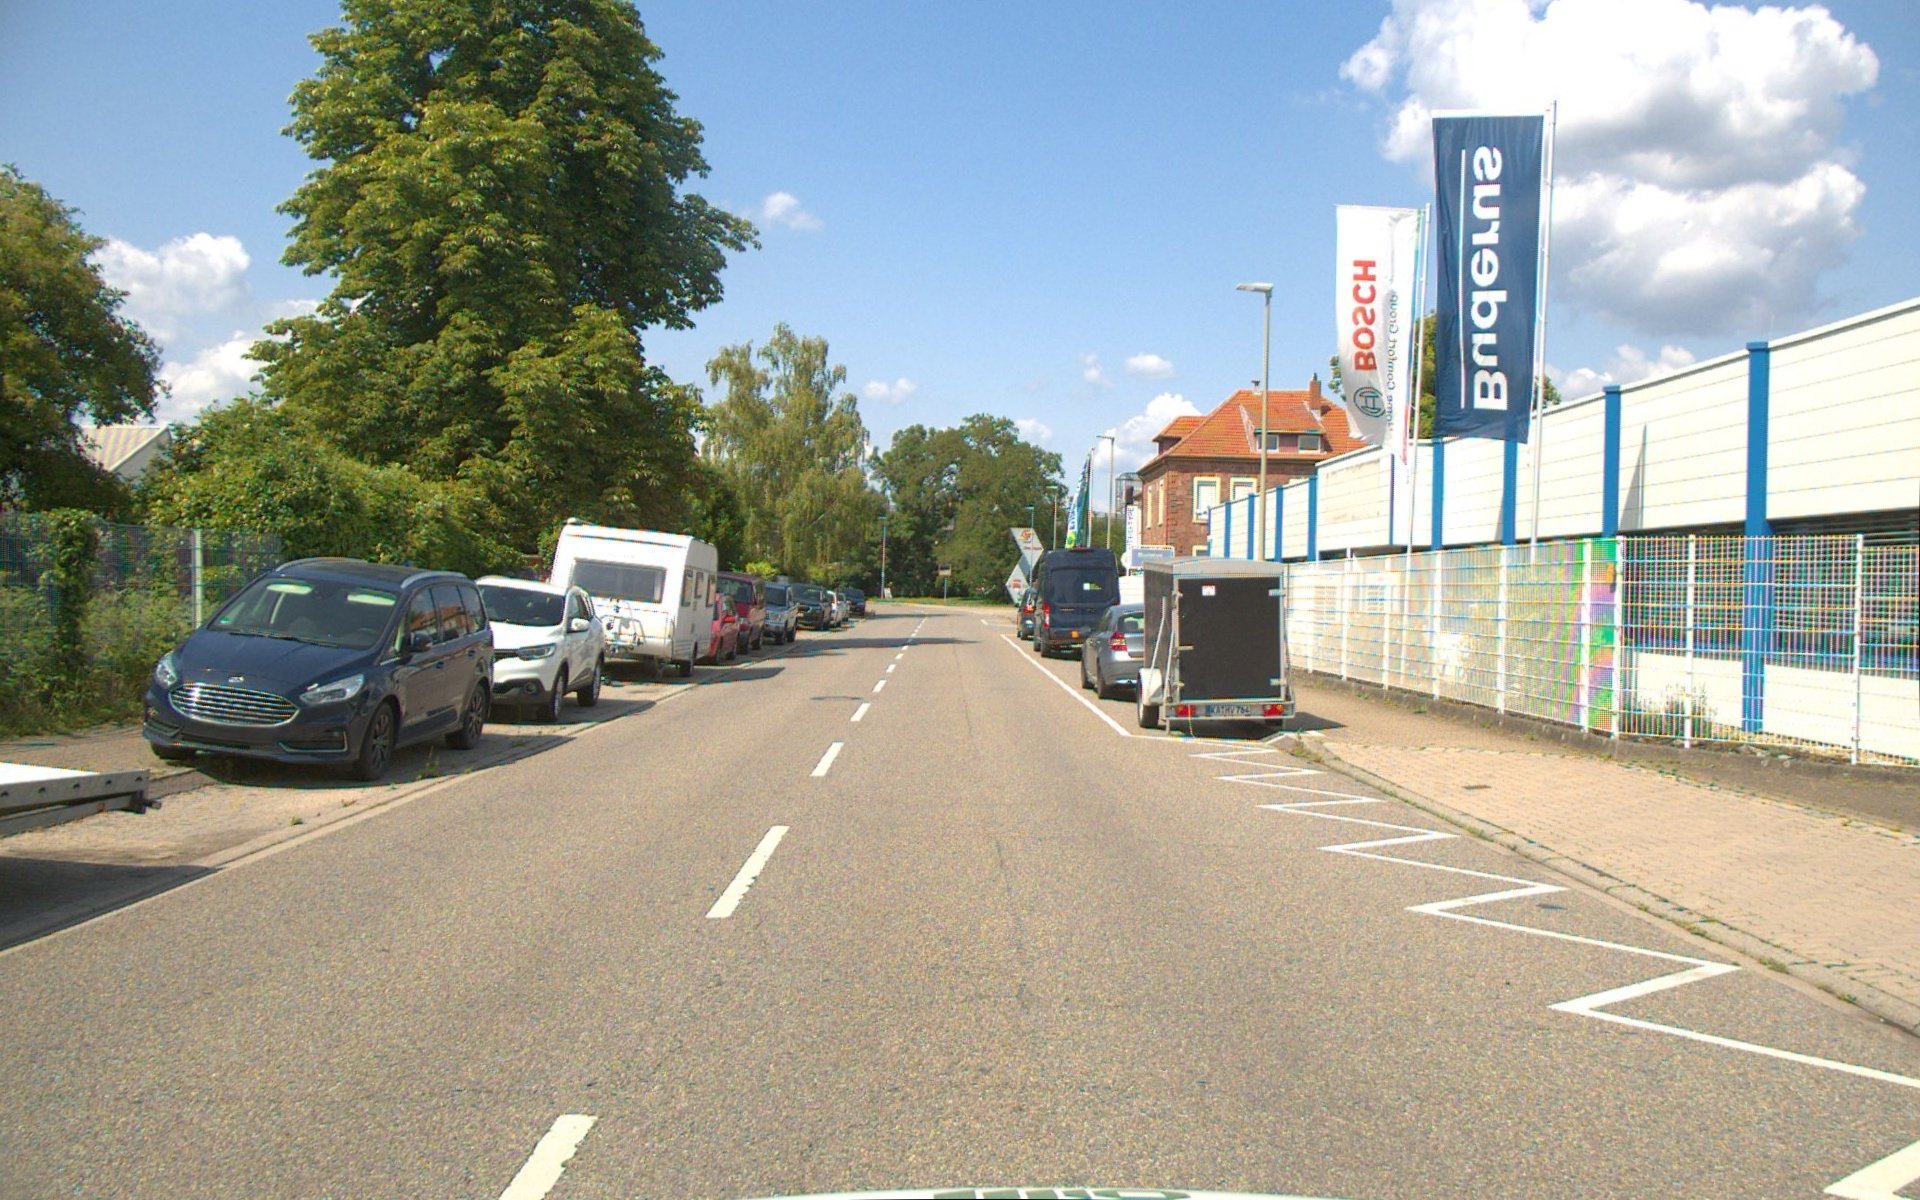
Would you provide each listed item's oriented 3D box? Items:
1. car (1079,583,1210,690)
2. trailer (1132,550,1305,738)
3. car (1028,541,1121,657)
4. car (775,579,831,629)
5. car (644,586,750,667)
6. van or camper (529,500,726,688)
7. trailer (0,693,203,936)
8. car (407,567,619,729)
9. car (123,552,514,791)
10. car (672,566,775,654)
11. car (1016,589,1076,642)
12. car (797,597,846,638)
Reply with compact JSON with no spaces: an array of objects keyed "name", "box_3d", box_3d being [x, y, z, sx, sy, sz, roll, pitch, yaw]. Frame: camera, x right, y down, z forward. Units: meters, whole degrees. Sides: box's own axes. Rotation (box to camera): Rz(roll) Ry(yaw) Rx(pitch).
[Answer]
[{"name":"car","box_3d":[2.855,0.533,26.305,1.540,1.534,4.132,1,0,-1]},{"name":"trailer","box_3d":[3.068,0.493,20.071,1.569,2.073,2.740,2,0,-1]},{"name":"car","box_3d":[2.935,-0.040,43.560,1.898,2.796,6.153,1,0,-1]},{"name":"car","box_3d":[-6.028,0.124,63.826,1.577,1.775,4.637,3,0,1]},{"name":"car","box_3d":[-5.841,0.556,37.147,1.592,1.558,4.268,5,0,-1]},{"name":"van or camper","box_3d":[-5.831,-0.106,30.024,2.218,2.852,6.831,5,0,-2]},{"name":"trailer","box_3d":[-5.477,0.978,5.790,2.225,0.898,7.132,6,0,1]},{"name":"car","box_3d":[-5.624,0.546,21.358,1.651,1.721,4.442,5,0,-4]},{"name":"car","box_3d":[-5.600,0.541,15.174,1.790,1.824,4.734,1,0,-1]},{"name":"car","box_3d":[-6.116,0.249,43.343,1.860,1.988,4.957,6,0,-1]},{"name":"car","box_3d":[2.867,0.483,55.924,1.787,1.693,4.555,0,0,0]},{"name":"car","box_3d":[-5.883,0.722,70.587,1.665,1.623,4.787,1,0,0]}]
